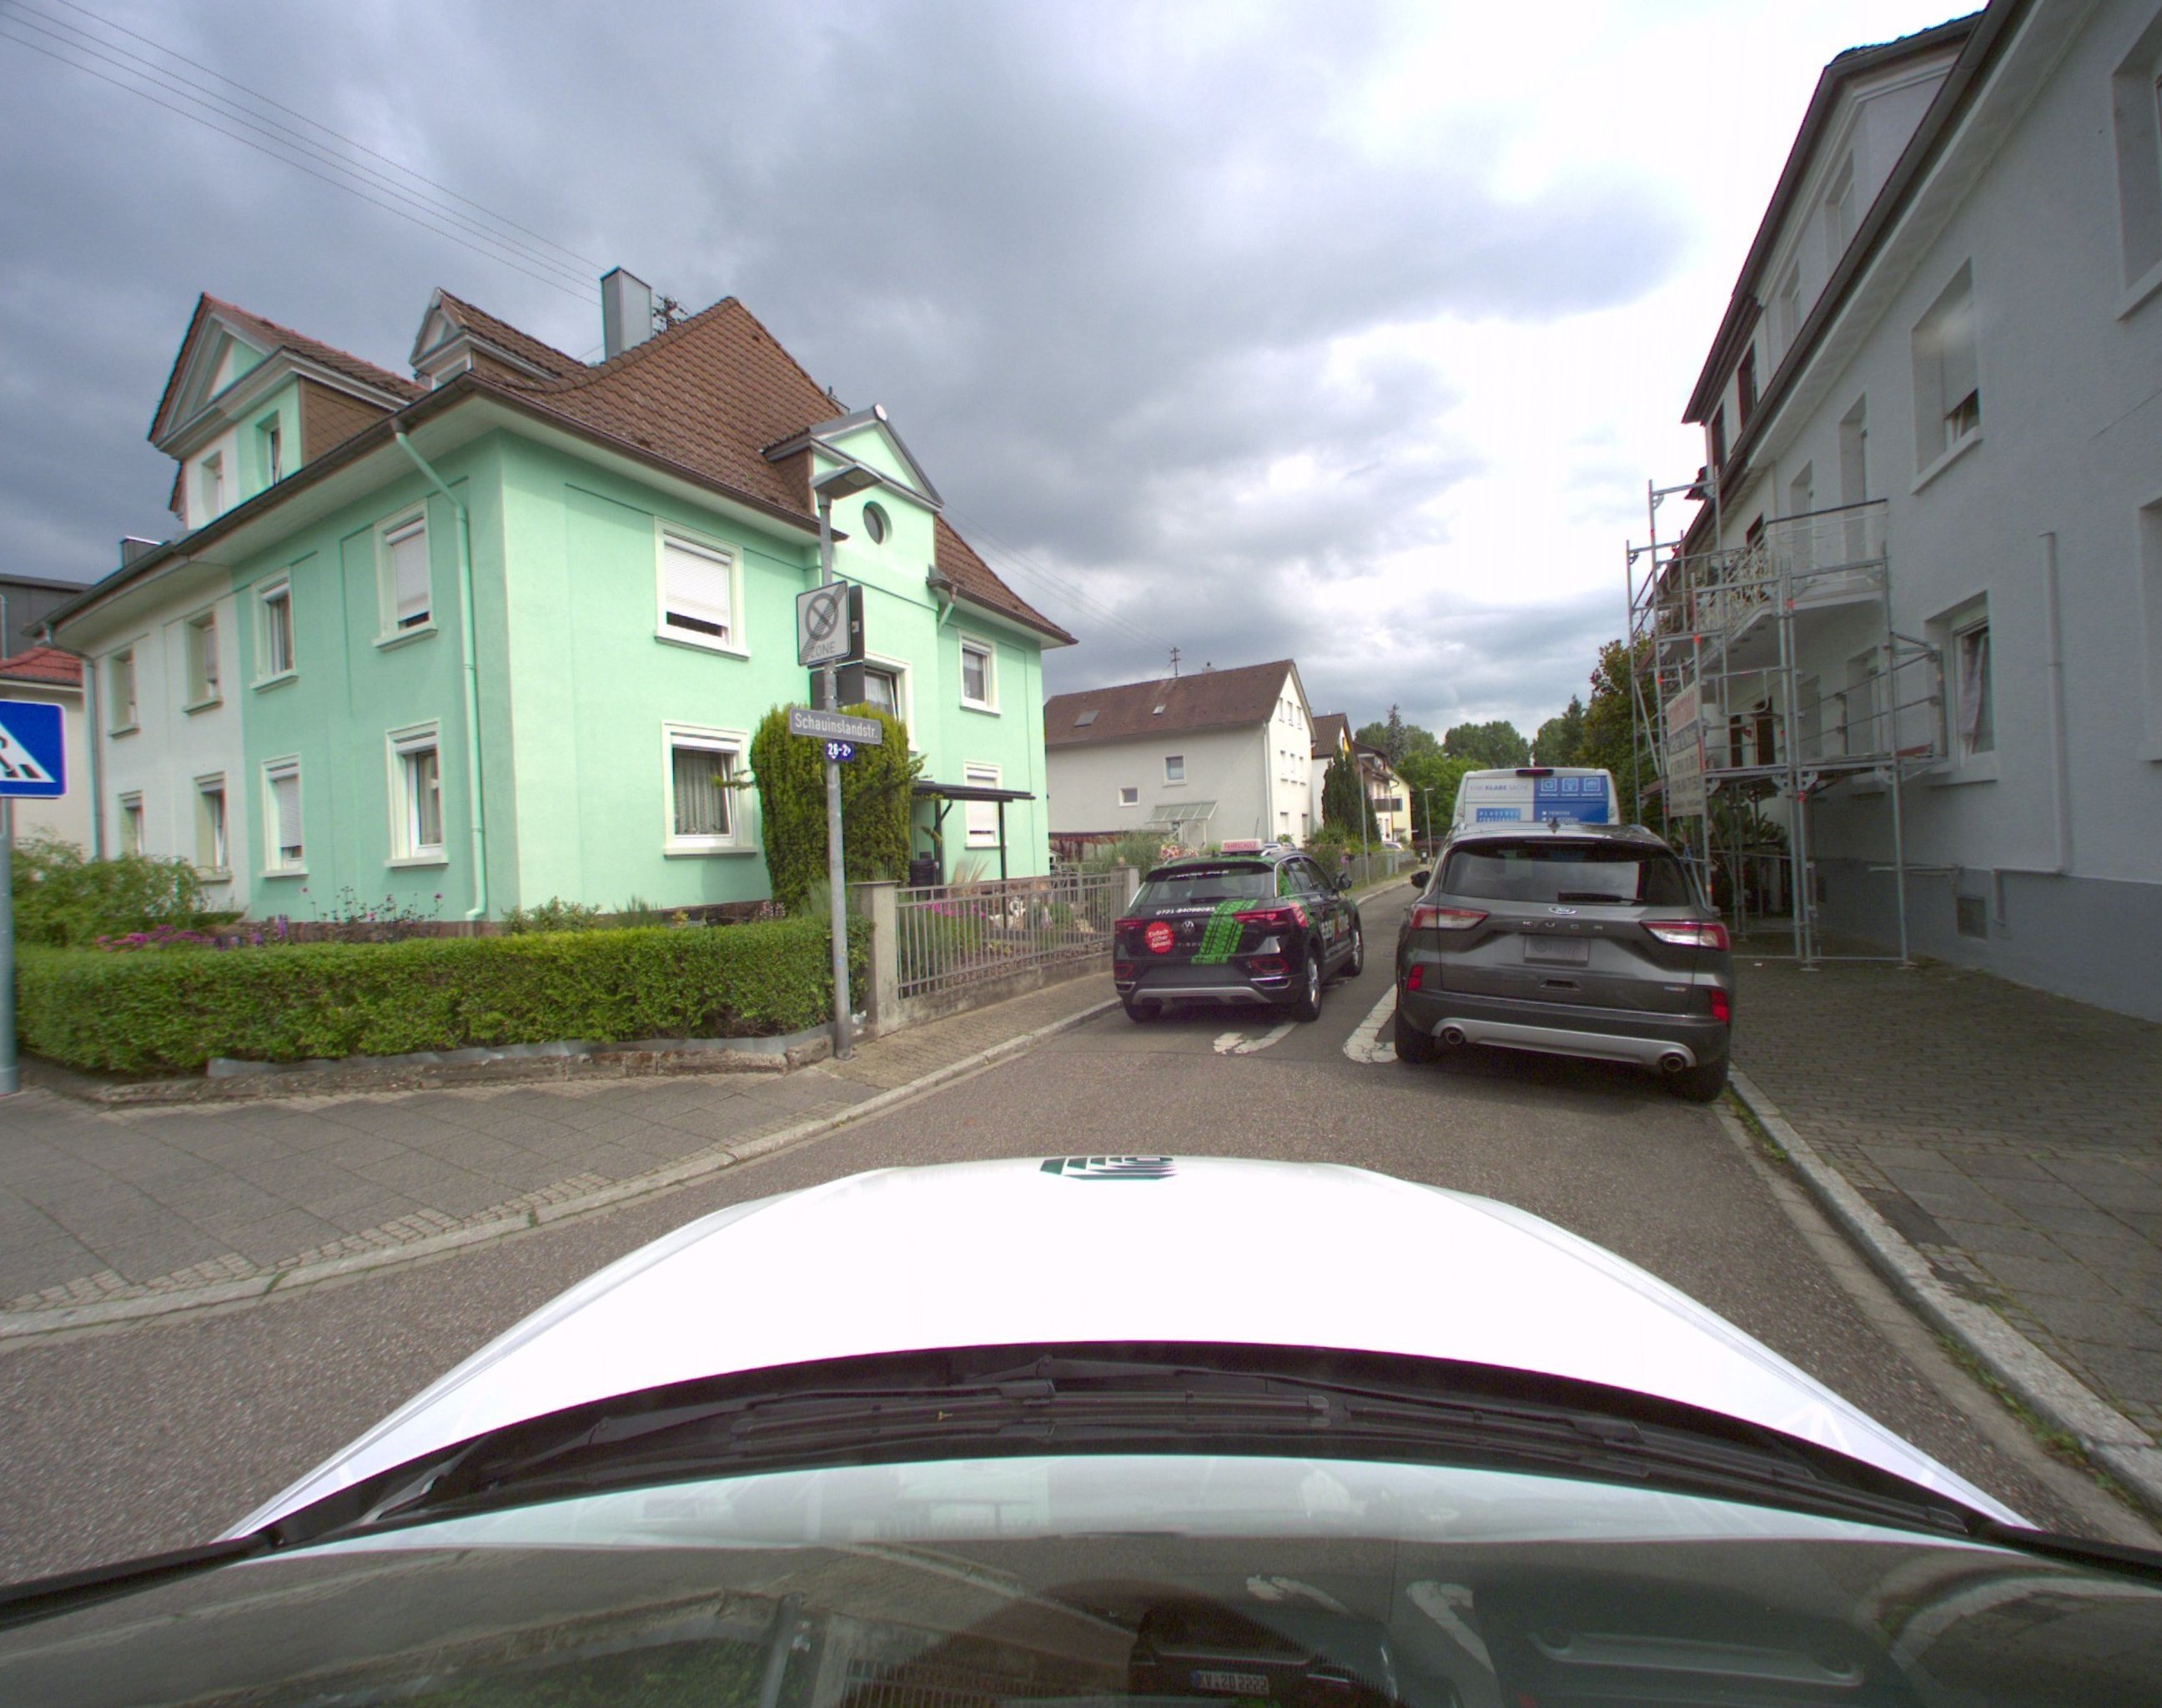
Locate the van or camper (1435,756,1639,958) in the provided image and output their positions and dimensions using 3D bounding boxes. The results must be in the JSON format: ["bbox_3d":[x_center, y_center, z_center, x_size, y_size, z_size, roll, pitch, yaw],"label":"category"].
[{"bbox_3d":[6.952,0.024,12.641,2.171,2.459,5.085,-3,0,28],"label":"van or camper"}]

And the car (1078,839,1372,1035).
[{"bbox_3d":[1.758,0.674,8.521,1.799,1.520,4.068,-4,-1,27],"label":"car"}]

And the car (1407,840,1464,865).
[{"bbox_3d":[28.004,-0.093,64.369,3.950,1.772,1.881,-3,-2,25],"label":"car"}]

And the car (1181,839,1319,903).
[{"bbox_3d":[4.868,0.497,23.485,3.538,1.667,1.597,-3,-1,25],"label":"car"}]

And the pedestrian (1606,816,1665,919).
[{"bbox_3d":[9.066,0.217,13.337,0.618,1.629,0.606,-3,-2,23],"label":"pedestrian"}]

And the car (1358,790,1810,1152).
[{"bbox_3d":[3.510,0.552,6.279,1.975,1.727,4.368,-3,0,26],"label":"car"}]

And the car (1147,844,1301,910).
[{"bbox_3d":[3.679,0.588,20.928,3.538,1.501,1.597,-3,-1,25],"label":"car"}]

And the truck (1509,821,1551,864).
[{"bbox_3d":[29.547,-0.768,53.743,2.110,2.657,4.612,-3,0,27],"label":"truck"}]

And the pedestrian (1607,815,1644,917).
[{"bbox_3d":[9.618,0.207,14.394,0.404,1.762,0.516,-3,-2,27],"label":"pedestrian"}]
